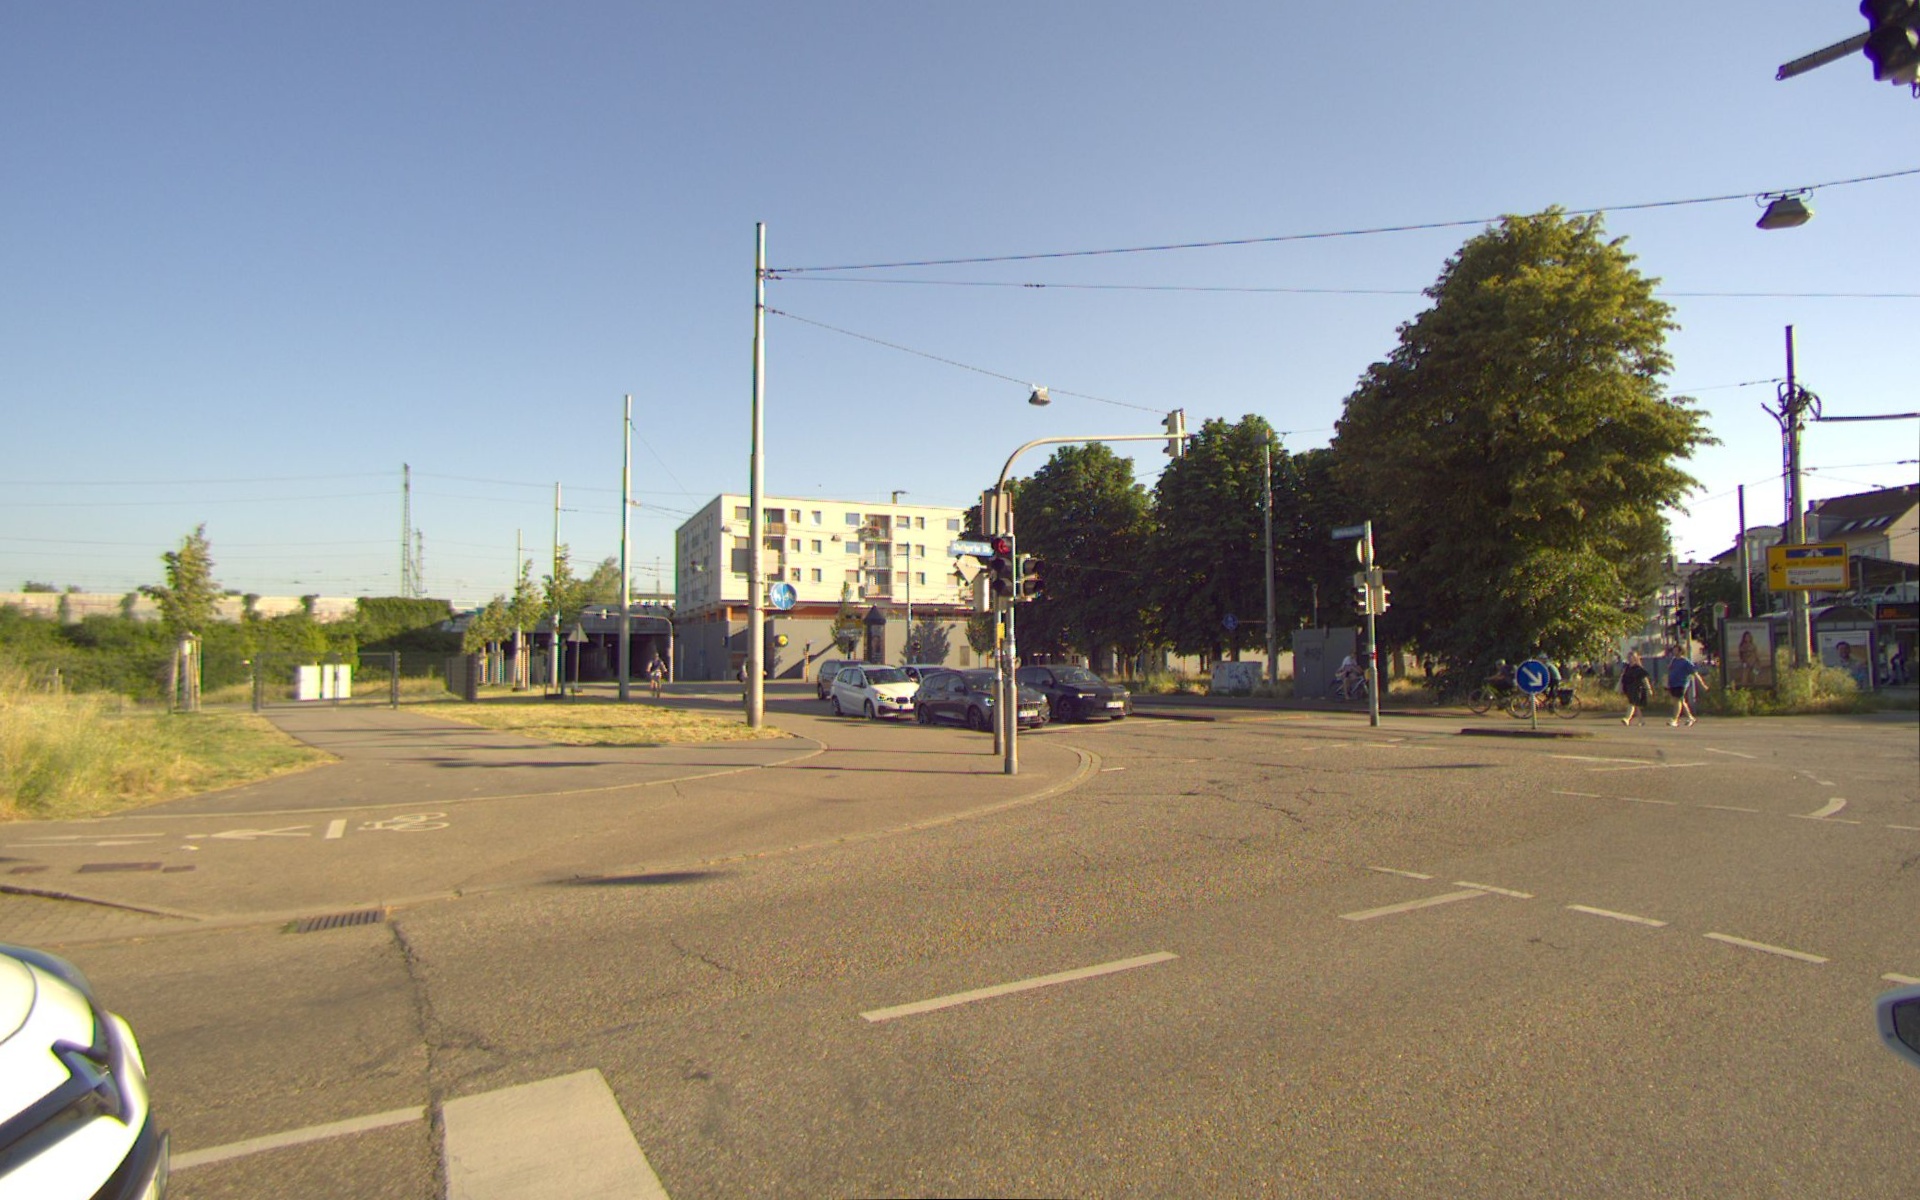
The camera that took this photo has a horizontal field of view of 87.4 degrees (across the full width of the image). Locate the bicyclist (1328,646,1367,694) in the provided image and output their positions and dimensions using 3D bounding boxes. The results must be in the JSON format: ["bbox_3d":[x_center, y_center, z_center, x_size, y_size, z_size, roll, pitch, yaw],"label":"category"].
[{"bbox_3d":[13.511,2.434,35.047,0.707,1.650,1.030,2,-4,-39],"label":"bicyclist"}]

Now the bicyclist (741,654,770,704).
[{"bbox_3d":[-6.802,2.608,33.403,0.767,1.626,0.851,1,-4,-28],"label":"bicyclist"}]

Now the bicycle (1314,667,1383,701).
[{"bbox_3d":[13.514,2.909,34.995,0.694,1.157,2.177,2,-4,-39],"label":"bicycle"}]

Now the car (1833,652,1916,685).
[{"bbox_3d":[59.367,4.433,65.341,2.017,1.987,5.153,-4,-4,19],"label":"car"}]

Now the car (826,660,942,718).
[{"bbox_3d":[-2.361,2.604,30.001,1.975,1.587,4.246,1,-4,-27],"label":"car"}]

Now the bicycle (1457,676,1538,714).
[{"bbox_3d":[15.820,2.781,29.609,0.659,1.083,1.993,3,-5,-43],"label":"bicycle"}]

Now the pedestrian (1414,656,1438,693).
[{"bbox_3d":[24.264,3.889,52.316,0.675,1.896,0.944,0,-3,-8],"label":"pedestrian"}]

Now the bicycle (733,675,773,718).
[{"bbox_3d":[-5.639,2.601,27.317,0.743,1.107,1.939,1,-4,-22],"label":"bicycle"}]

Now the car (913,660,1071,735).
[{"bbox_3d":[0.653,2.253,24.055,1.975,1.587,4.246,0,-3,-27],"label":"car"}]

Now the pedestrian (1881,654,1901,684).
[{"bbox_3d":[47.976,3.547,51.757,0.558,1.520,0.677,-2,-4,32],"label":"pedestrian"}]

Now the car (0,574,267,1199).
[{"bbox_3d":[-3.053,0.717,1.011,3.733,1.488,1.692,2,-4,-32],"label":"car"}]

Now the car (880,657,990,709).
[{"bbox_3d":[-0.928,2.728,33.656,1.975,1.587,4.426,1,-4,-27],"label":"car"}]

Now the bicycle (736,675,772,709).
[{"bbox_3d":[-6.854,3.041,33.379,0.655,1.083,2.005,1,-4,-28],"label":"bicycle"}]

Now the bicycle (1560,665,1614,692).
[{"bbox_3d":[26.448,3.315,42.365,1.983,1.083,0.663,0,-3,-10],"label":"bicycle"}]

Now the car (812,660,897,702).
[{"bbox_3d":[-4.364,3.242,40.914,1.975,1.587,4.426,1,-4,-27],"label":"car"}]

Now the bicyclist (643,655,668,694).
[{"bbox_3d":[-12.560,3.065,41.427,0.841,1.567,1.015,1,-4,-27],"label":"bicyclist"}]

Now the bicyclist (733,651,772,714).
[{"bbox_3d":[-5.643,2.227,27.285,0.866,1.646,0.968,1,-3,-22],"label":"bicyclist"}]

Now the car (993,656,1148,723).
[{"bbox_3d":[2.781,2.281,26.410,2.027,1.587,4.423,1,-4,-26],"label":"car"}]

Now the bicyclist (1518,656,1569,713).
[{"bbox_3d":[16.128,2.323,27.765,0.693,1.552,1.024,2,-4,-43],"label":"bicyclist"}]

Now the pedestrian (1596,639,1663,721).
[{"bbox_3d":[15.107,1.791,22.683,1.057,1.769,0.905,2,-4,-37],"label":"pedestrian"}]

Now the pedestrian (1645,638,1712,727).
[{"bbox_3d":[16.355,1.863,22.869,1.058,1.950,0.905,2,-4,-37],"label":"pedestrian"}]

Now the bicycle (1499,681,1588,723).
[{"bbox_3d":[16.126,2.793,27.793,0.659,1.083,1.994,2,-4,-42],"label":"bicycle"}]

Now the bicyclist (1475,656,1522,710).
[{"bbox_3d":[15.853,2.441,29.584,0.656,1.552,1.024,3,-4,-44],"label":"bicyclist"}]

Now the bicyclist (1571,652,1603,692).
[{"bbox_3d":[26.439,3.018,42.338,0.871,1.673,0.669,0,-3,-11],"label":"bicyclist"}]

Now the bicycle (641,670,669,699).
[{"bbox_3d":[-12.552,3.459,41.307,0.782,1.164,2.279,1,-4,-24],"label":"bicycle"}]
